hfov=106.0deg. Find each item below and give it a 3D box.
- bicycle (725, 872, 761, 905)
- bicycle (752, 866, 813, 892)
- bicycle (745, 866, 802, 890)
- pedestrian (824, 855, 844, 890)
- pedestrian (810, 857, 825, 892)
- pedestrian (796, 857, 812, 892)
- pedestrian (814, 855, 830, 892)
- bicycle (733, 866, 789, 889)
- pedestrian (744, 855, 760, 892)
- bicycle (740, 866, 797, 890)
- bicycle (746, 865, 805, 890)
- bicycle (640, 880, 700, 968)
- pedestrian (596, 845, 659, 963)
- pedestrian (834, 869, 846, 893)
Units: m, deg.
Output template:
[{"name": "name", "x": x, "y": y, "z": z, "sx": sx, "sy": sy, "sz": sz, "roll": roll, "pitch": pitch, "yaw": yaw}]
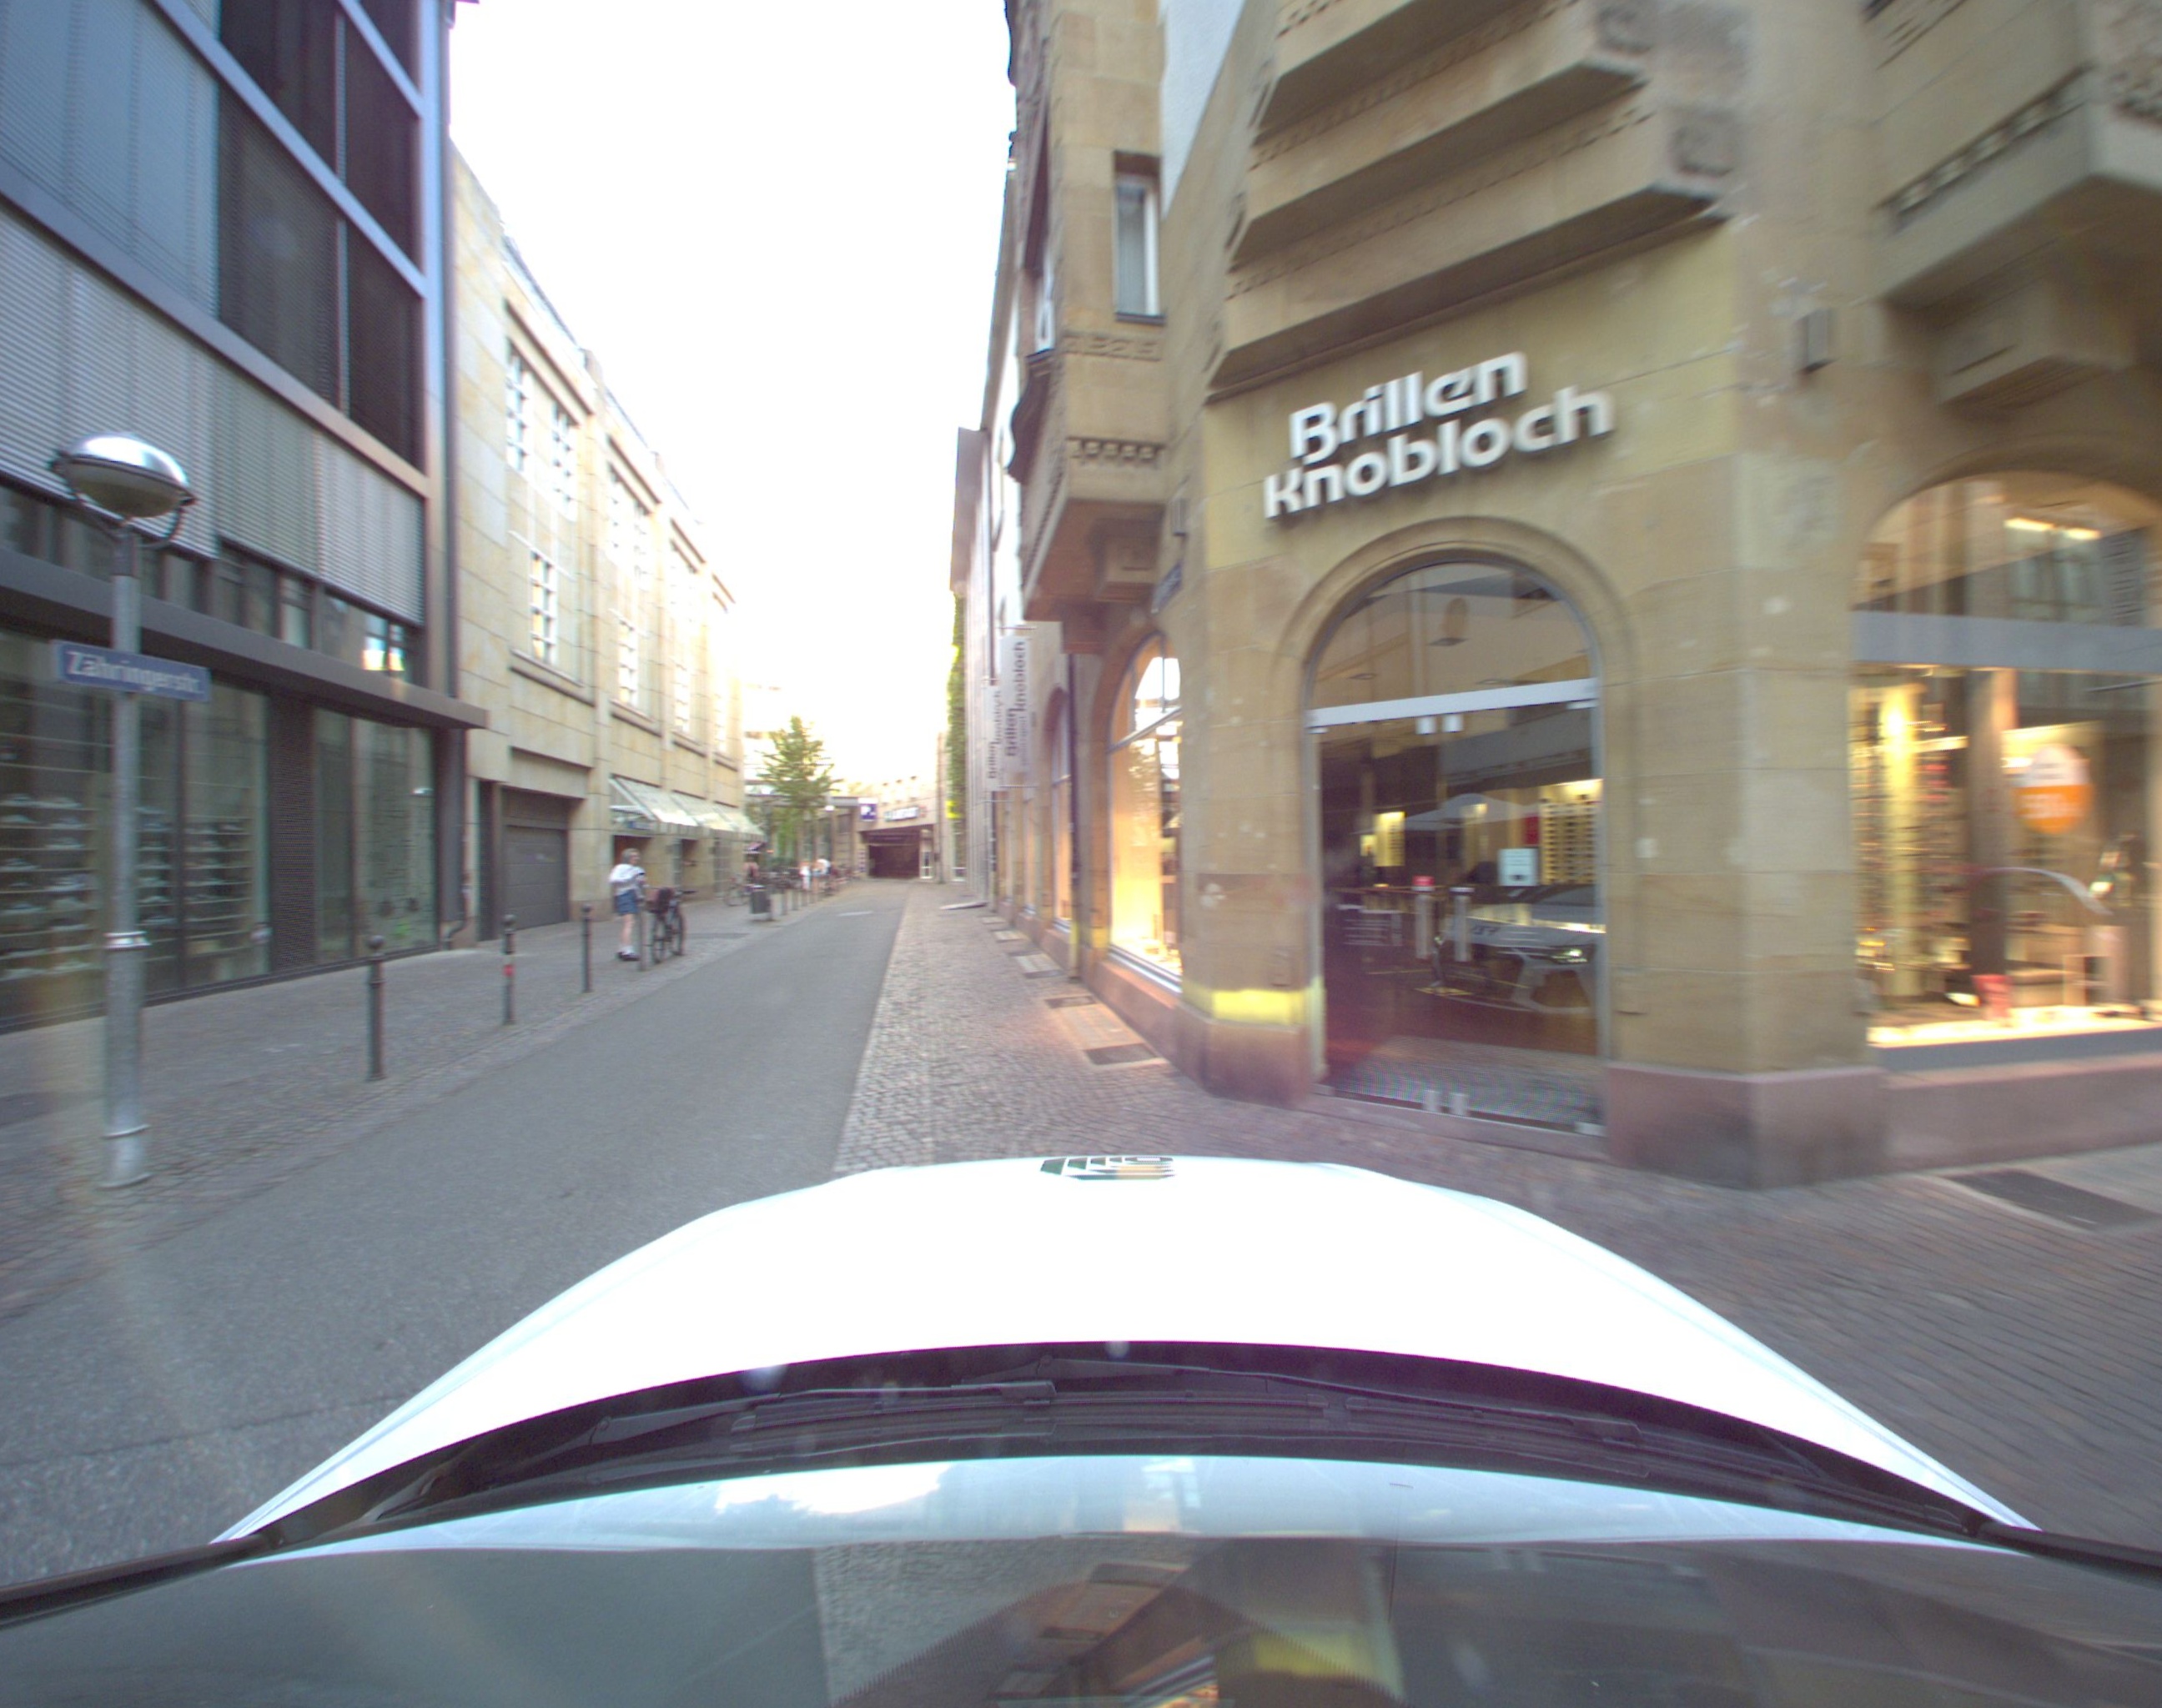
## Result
[{"name": "bicycle", "x": -11.890, "y": 1.196, "z": 28.685, "sx": 0.480, "sy": 1.081, "sz": 2.238, "roll": -1, "pitch": 0, "yaw": -4}, {"name": "bicycle", "x": -15.089, "y": 1.231, "z": 41.186, "sx": 2.775, "sy": 1.200, "sz": 0.726, "roll": -1, "pitch": 0, "yaw": -30}, {"name": "bicycle", "x": -16.345, "y": 1.261, "z": 43.311, "sx": 2.775, "sy": 1.200, "sz": 0.726, "roll": -1, "pitch": 0, "yaw": -30}, {"name": "pedestrian", "x": -12.378, "y": 0.927, "z": 40.793, "sx": 0.864, "sy": 1.757, "sz": 0.796, "roll": 0, "pitch": -1, "yaw": -10}, {"name": "pedestrian", "x": -12.272, "y": 0.968, "z": 37.981, "sx": 0.585, "sy": 1.604, "sz": 0.625, "roll": 0, "pitch": -1, "yaw": -10}, {"name": "pedestrian", "x": -12.927, "y": 0.960, "z": 38.006, "sx": 0.590, "sy": 1.604, "sz": 0.663, "roll": 0, "pitch": -1, "yaw": -10}, {"name": "pedestrian", "x": -12.522, "y": 0.916, "z": 39.341, "sx": 0.630, "sy": 1.757, "sz": 0.796, "roll": 0, "pitch": -1, "yaw": -10}, {"name": "bicycle", "x": -17.735, "y": 1.286, "z": 45.172, "sx": 2.775, "sy": 1.200, "sz": 0.726, "roll": -1, "pitch": 0, "yaw": -30}, {"name": "pedestrian", "x": -15.976, "y": 0.958, "z": 39.517, "sx": 0.659, "sy": 1.764, "sz": 0.612, "roll": -1, "pitch": 0, "yaw": -25}, {"name": "bicycle", "x": -16.858, "y": 1.270, "z": 43.970, "sx": 2.775, "sy": 1.200, "sz": 0.750, "roll": -1, "pitch": 0, "yaw": -30}, {"name": "bicycle", "x": -15.918, "y": 1.223, "z": 42.476, "sx": 2.775, "sy": 1.200, "sz": 0.726, "roll": -1, "pitch": 0, "yaw": -30}, {"name": "bicycle", "x": -6.511, "y": 1.063, "z": 12.977, "sx": 0.412, "sy": 1.232, "sz": 1.819, "roll": -1, "pitch": 0, "yaw": -13}, {"name": "pedestrian", "x": -7.153, "y": 0.757, "z": 12.886, "sx": 0.609, "sy": 1.791, "sz": 0.906, "roll": -1, "pitch": 0, "yaw": -12}, {"name": "pedestrian", "x": -11.651, "y": 1.290, "z": 39.356, "sx": 0.466, "sy": 1.168, "sz": 0.520, "roll": 0, "pitch": -1, "yaw": -10}]
